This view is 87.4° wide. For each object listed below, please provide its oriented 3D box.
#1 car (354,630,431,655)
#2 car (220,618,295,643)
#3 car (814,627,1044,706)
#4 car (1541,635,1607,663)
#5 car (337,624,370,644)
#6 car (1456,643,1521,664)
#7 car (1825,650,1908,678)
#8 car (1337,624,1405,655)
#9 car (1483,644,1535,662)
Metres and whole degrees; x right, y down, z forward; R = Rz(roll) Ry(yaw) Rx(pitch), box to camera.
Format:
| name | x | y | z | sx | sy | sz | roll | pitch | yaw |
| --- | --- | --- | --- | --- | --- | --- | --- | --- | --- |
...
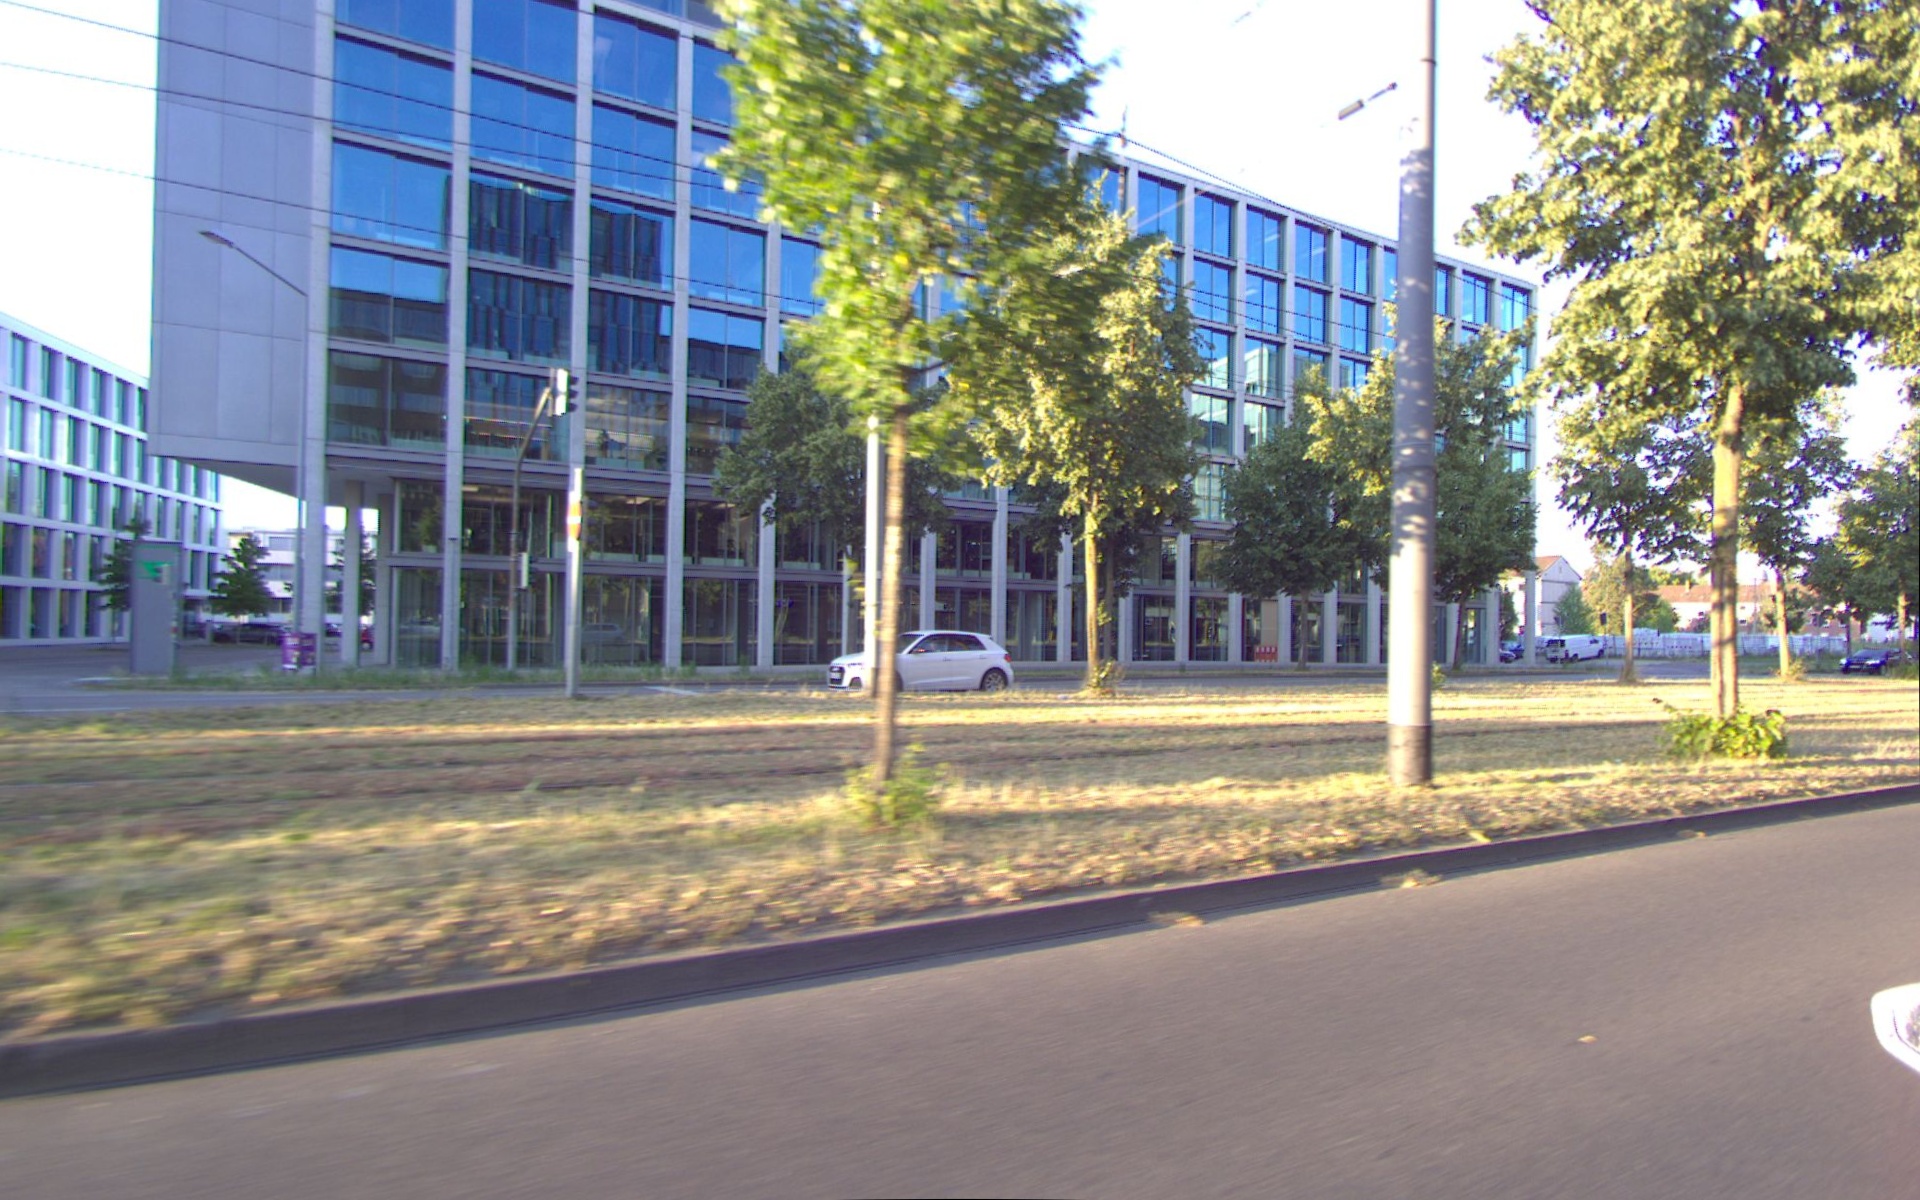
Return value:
| name | x | y | z | sx | sy | sz | roll | pitch | yaw |
| --- | --- | --- | --- | --- | --- | --- | --- | --- | --- |
| car | -36.183 | 2.706 | 64.120 | 3.936 | 1.576 | 1.697 | 1 | -1 | -18 |
| car | -49.257 | 2.128 | 70.548 | 3.945 | 1.686 | 1.988 | 1 | -1 | -24 |
| car | -0.616 | 1.374 | 21.357 | 4.578 | 1.505 | 1.893 | 2 | -2 | -31 |
| car | 47.438 | 3.788 | 77.593 | 5.022 | 2.040 | 2.197 | 2 | -2 | -29 |
| car | -58.447 | 3.250 | 96.889 | 1.779 | 1.817 | 3.796 | 1 | -1 | -16 |
| car | 38.759 | 3.916 | 73.745 | 1.869 | 1.465 | 3.975 | 2 | -2 | -25 |
| car | 49.727 | 3.510 | 55.088 | 4.330 | 1.441 | 1.925 | 2 | -2 | -26 |
| car | 34.347 | 3.259 | 84.118 | 1.946 | 2.500 | 5.467 | 2 | -2 | -24 |
| car | 45.165 | 4.347 | 82.673 | 3.951 | 1.437 | 1.985 | 2 | -2 | -29 |
